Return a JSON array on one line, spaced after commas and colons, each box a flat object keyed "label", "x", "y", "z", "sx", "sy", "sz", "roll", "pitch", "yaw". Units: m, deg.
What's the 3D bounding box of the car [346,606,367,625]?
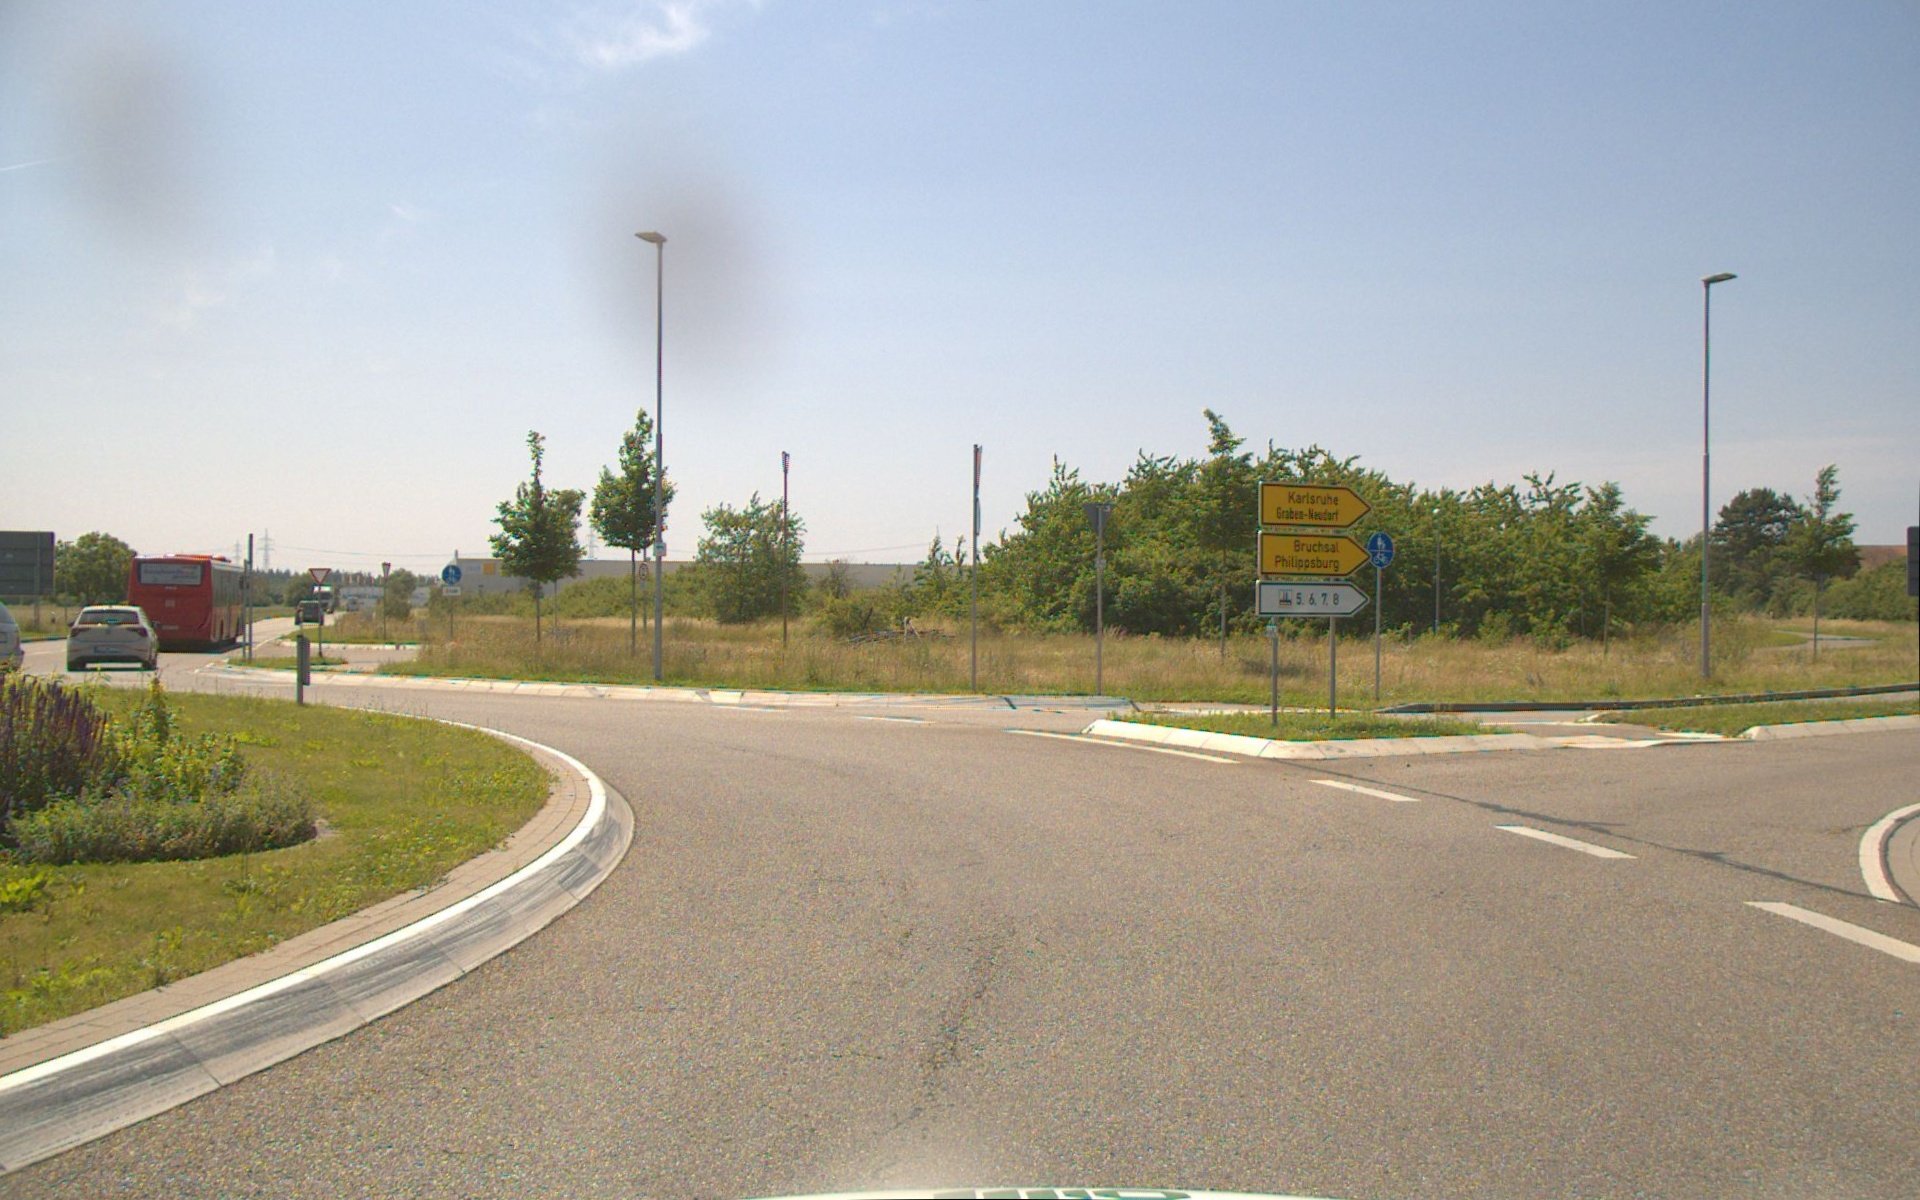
[{"label": "car", "x": -61.225, "y": 1.565, "z": 167.704, "sx": 1.964, "sy": 1.879, "sz": 4.147, "roll": 0, "pitch": -1, "yaw": -20}]

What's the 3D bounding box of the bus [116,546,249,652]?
[{"label": "bus", "x": -27.232, "y": 0.009, "z": 58.456, "sx": 3.255, "sy": 3.367, "sz": 11.917, "roll": 0, "pitch": 0, "yaw": -20}]

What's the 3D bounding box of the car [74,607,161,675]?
[{"label": "car", "x": -19.446, "y": 0.906, "z": 38.131, "sx": 1.704, "sy": 1.490, "sz": 3.568, "roll": 0, "pitch": -1, "yaw": -28}]

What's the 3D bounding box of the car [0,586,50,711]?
[{"label": "car", "x": -15.011, "y": 0.666, "z": 22.912, "sx": 3.902, "sy": 1.703, "sz": 1.780, "roll": 0, "pitch": -1, "yaw": 7}]

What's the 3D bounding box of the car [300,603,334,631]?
[{"label": "car", "x": -44.859, "y": 1.187, "z": 115.455, "sx": 1.962, "sy": 1.959, "sz": 3.980, "roll": 0, "pitch": 0, "yaw": -18}]
